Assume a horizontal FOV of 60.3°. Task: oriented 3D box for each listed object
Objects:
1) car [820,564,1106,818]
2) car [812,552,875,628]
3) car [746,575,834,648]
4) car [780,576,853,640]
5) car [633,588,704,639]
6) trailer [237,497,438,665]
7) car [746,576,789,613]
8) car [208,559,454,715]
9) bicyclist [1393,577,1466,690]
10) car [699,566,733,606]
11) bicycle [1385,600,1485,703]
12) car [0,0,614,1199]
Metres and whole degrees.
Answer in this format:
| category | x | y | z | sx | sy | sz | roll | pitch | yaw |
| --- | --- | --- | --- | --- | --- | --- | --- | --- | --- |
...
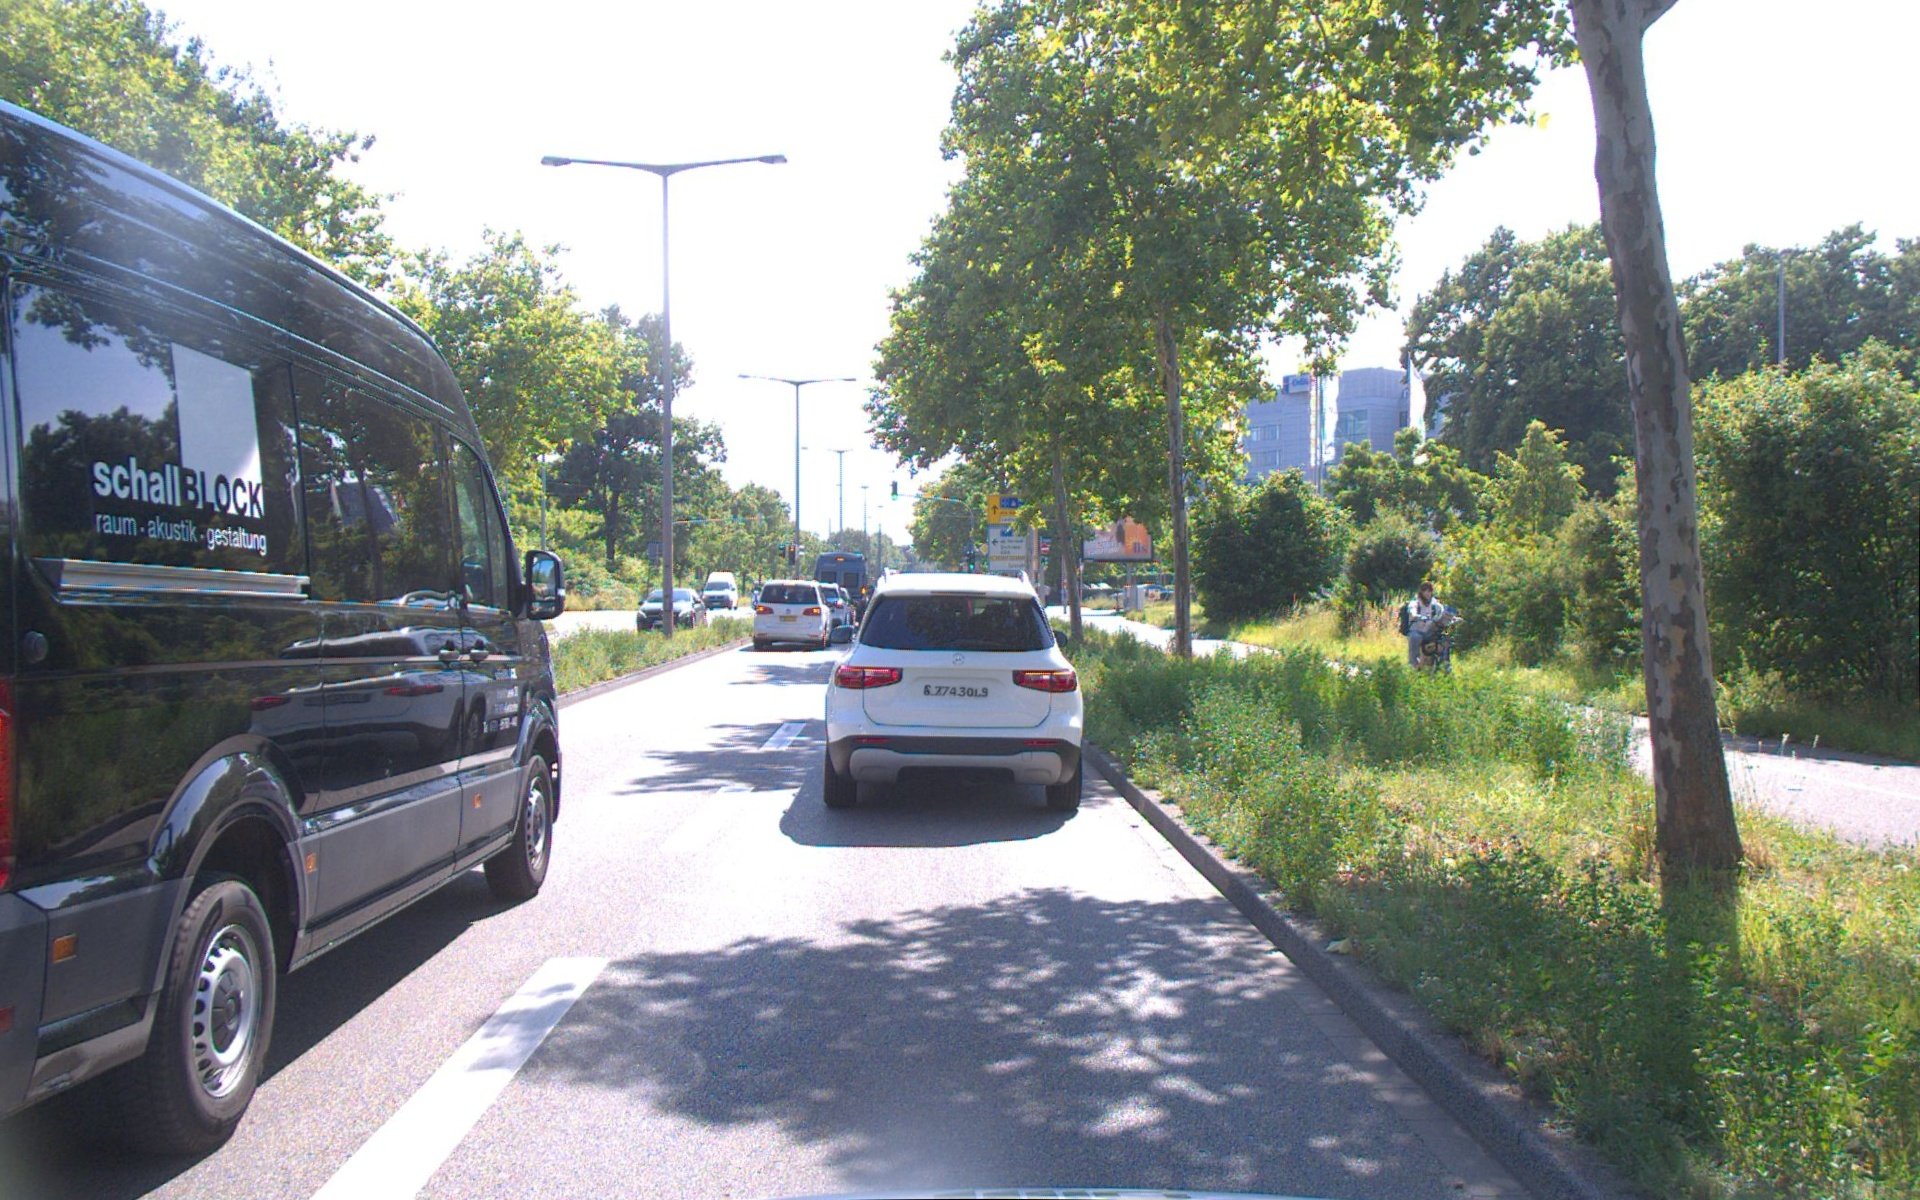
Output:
| category | x | y | z | sx | sy | sz | roll | pitch | yaw |
| --- | --- | --- | --- | --- | --- | --- | --- | --- | --- |
| car | -0.139 | 0.571 | 12.713 | 1.818 | 1.635 | 3.995 | 0 | 0 | -6 |
| car | -4.355 | -0.381 | 62.630 | 2.039 | 2.703 | 4.873 | 1 | 0 | -1 |
| car | -4.124 | 0.265 | 40.655 | 1.735 | 1.676 | 4.351 | 1 | 0 | -1 |
| car | -3.996 | 0.208 | 46.518 | 1.735 | 1.676 | 4.084 | 1 | 0 | -1 |
| car | -9.047 | 0.406 | 51.624 | 1.570 | 1.497 | 3.789 | 1 | 0 | -1 |
| trailer | -11.290 | -0.327 | 30.403 | 1.842 | 2.792 | 4.828 | 2 | 0 | -1 |
| car | -10.506 | -0.319 | 90.316 | 1.953 | 1.914 | 3.998 | 2 | 0 | -2 |
| car | -8.281 | 0.449 | 22.197 | 1.696 | 1.841 | 4.231 | 2 | 0 | -1 |
| bicyclist | 6.441 | 0.450 | 22.741 | 0.690 | 1.503 | 1.009 | 1 | 0 | -1 |
| car | -15.805 | -0.906 | 107.345 | 1.955 | 2.460 | 5.132 | 1 | 0 | -6 |
| bicycle | 6.423 | 0.671 | 22.472 | 0.708 | 1.321 | 2.095 | 1 | 0 | -1 |
| car | -2.845 | 0.060 | 5.926 | 1.975 | 2.653 | 6.167 | 1 | 0 | -1 |
